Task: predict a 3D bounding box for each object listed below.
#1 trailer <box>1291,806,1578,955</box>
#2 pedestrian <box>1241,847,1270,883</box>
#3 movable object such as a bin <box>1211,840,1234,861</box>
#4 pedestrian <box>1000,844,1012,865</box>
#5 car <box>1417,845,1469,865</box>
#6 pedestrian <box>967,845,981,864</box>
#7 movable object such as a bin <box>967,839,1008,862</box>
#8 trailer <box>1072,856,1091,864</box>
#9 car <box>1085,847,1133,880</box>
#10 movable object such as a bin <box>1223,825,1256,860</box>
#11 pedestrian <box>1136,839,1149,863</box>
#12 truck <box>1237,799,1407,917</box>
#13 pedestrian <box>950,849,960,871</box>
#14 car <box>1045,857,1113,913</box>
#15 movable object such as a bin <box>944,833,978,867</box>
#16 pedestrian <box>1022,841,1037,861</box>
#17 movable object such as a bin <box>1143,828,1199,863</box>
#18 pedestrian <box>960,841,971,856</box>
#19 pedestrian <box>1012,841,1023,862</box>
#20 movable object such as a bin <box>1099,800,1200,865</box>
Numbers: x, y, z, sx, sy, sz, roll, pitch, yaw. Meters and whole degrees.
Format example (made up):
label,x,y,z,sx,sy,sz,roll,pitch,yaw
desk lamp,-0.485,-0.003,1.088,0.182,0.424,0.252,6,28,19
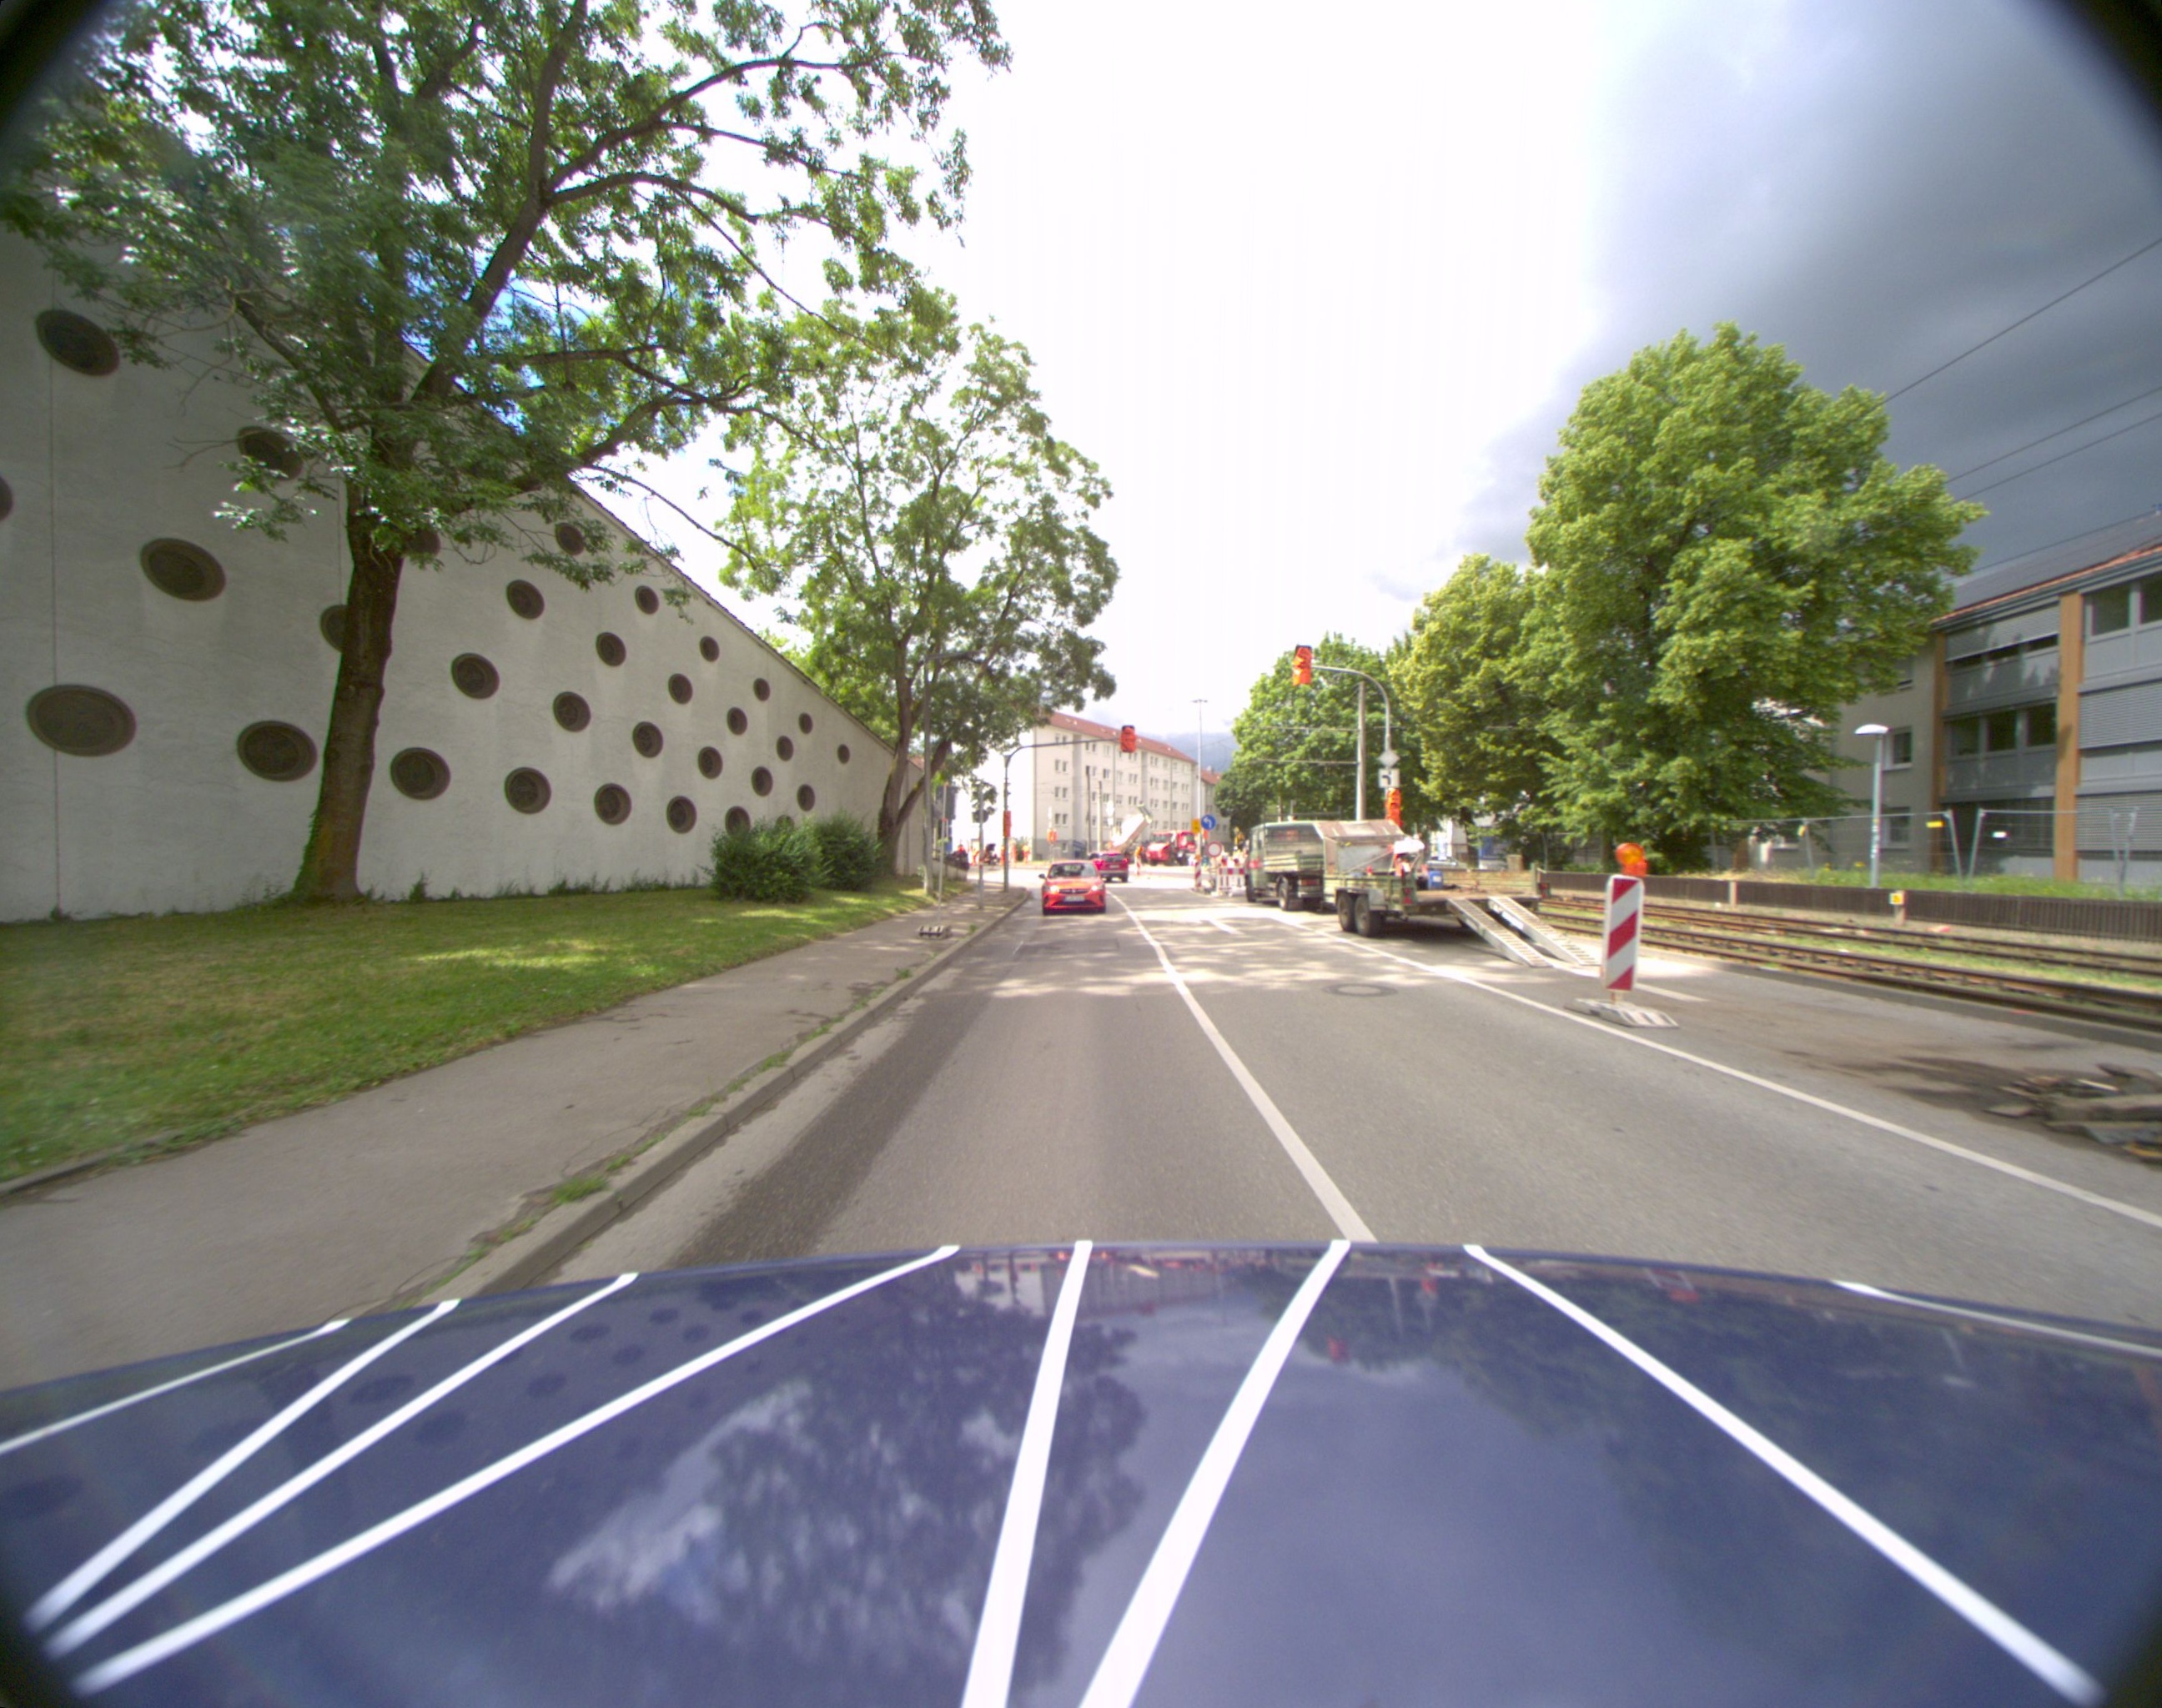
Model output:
label,x,y,z,sx,sy,sz,roll,pitch,yaw
trailer,6.273,0.364,14.742,2.669,2.201,6.247,-2,1,0
pedestrian,7.611,0.487,33.116,0.766,1.542,0.898,-2,1,-39
movable object such as a bin,17.367,-0.423,92.934,1.995,2.395,4.006,1,0,22
pedestrian,-6.457,0.061,65.252,0.767,1.829,0.785,0,1,26
car,26.738,0.083,56.207,3.197,1.446,1.566,1,1,15
pedestrian,-9.511,0.065,67.360,0.916,1.706,0.755,0,1,34
movable object such as a bin,-8.114,-0.307,66.154,2.959,2.002,2.004,0,1,38
trailer,0.025,0.534,66.286,0.799,0.612,1.593,1,0,-37
car,1.424,0.464,39.860,1.848,1.608,4.239,-2,1,-7
movable object such as a bin,21.210,-1.483,101.343,2.819,4.509,6.221,1,0,27
pedestrian,4.696,-0.206,58.280,0.796,1.822,0.970,-1,2,-8
truck,6.328,0.049,21.062,2.669,2.709,6.394,-2,1,0
pedestrian,-9.739,0.459,58.738,0.557,1.673,0.471,1,3,32
car,-0.051,0.842,22.384,1.769,1.425,3.838,-2,1,0
movable object such as a bin,-9.305,-0.318,58.790,2.355,2.579,1.323,0,2,40
pedestrian,-4.672,-0.275,69.332,0.872,1.813,1.098,0,1,28
movable object such as a bin,7.315,-0.716,60.959,2.110,2.654,5.598,1,2,34
pedestrian,-8.847,-0.418,58.061,0.615,1.209,0.552,1,1,39
pedestrian,-5.881,-0.228,70.304,0.881,1.897,0.666,-1,2,-16
movable object such as a bin,6.143,-1.789,66.842,9.052,5.453,2.813,0,1,-33
